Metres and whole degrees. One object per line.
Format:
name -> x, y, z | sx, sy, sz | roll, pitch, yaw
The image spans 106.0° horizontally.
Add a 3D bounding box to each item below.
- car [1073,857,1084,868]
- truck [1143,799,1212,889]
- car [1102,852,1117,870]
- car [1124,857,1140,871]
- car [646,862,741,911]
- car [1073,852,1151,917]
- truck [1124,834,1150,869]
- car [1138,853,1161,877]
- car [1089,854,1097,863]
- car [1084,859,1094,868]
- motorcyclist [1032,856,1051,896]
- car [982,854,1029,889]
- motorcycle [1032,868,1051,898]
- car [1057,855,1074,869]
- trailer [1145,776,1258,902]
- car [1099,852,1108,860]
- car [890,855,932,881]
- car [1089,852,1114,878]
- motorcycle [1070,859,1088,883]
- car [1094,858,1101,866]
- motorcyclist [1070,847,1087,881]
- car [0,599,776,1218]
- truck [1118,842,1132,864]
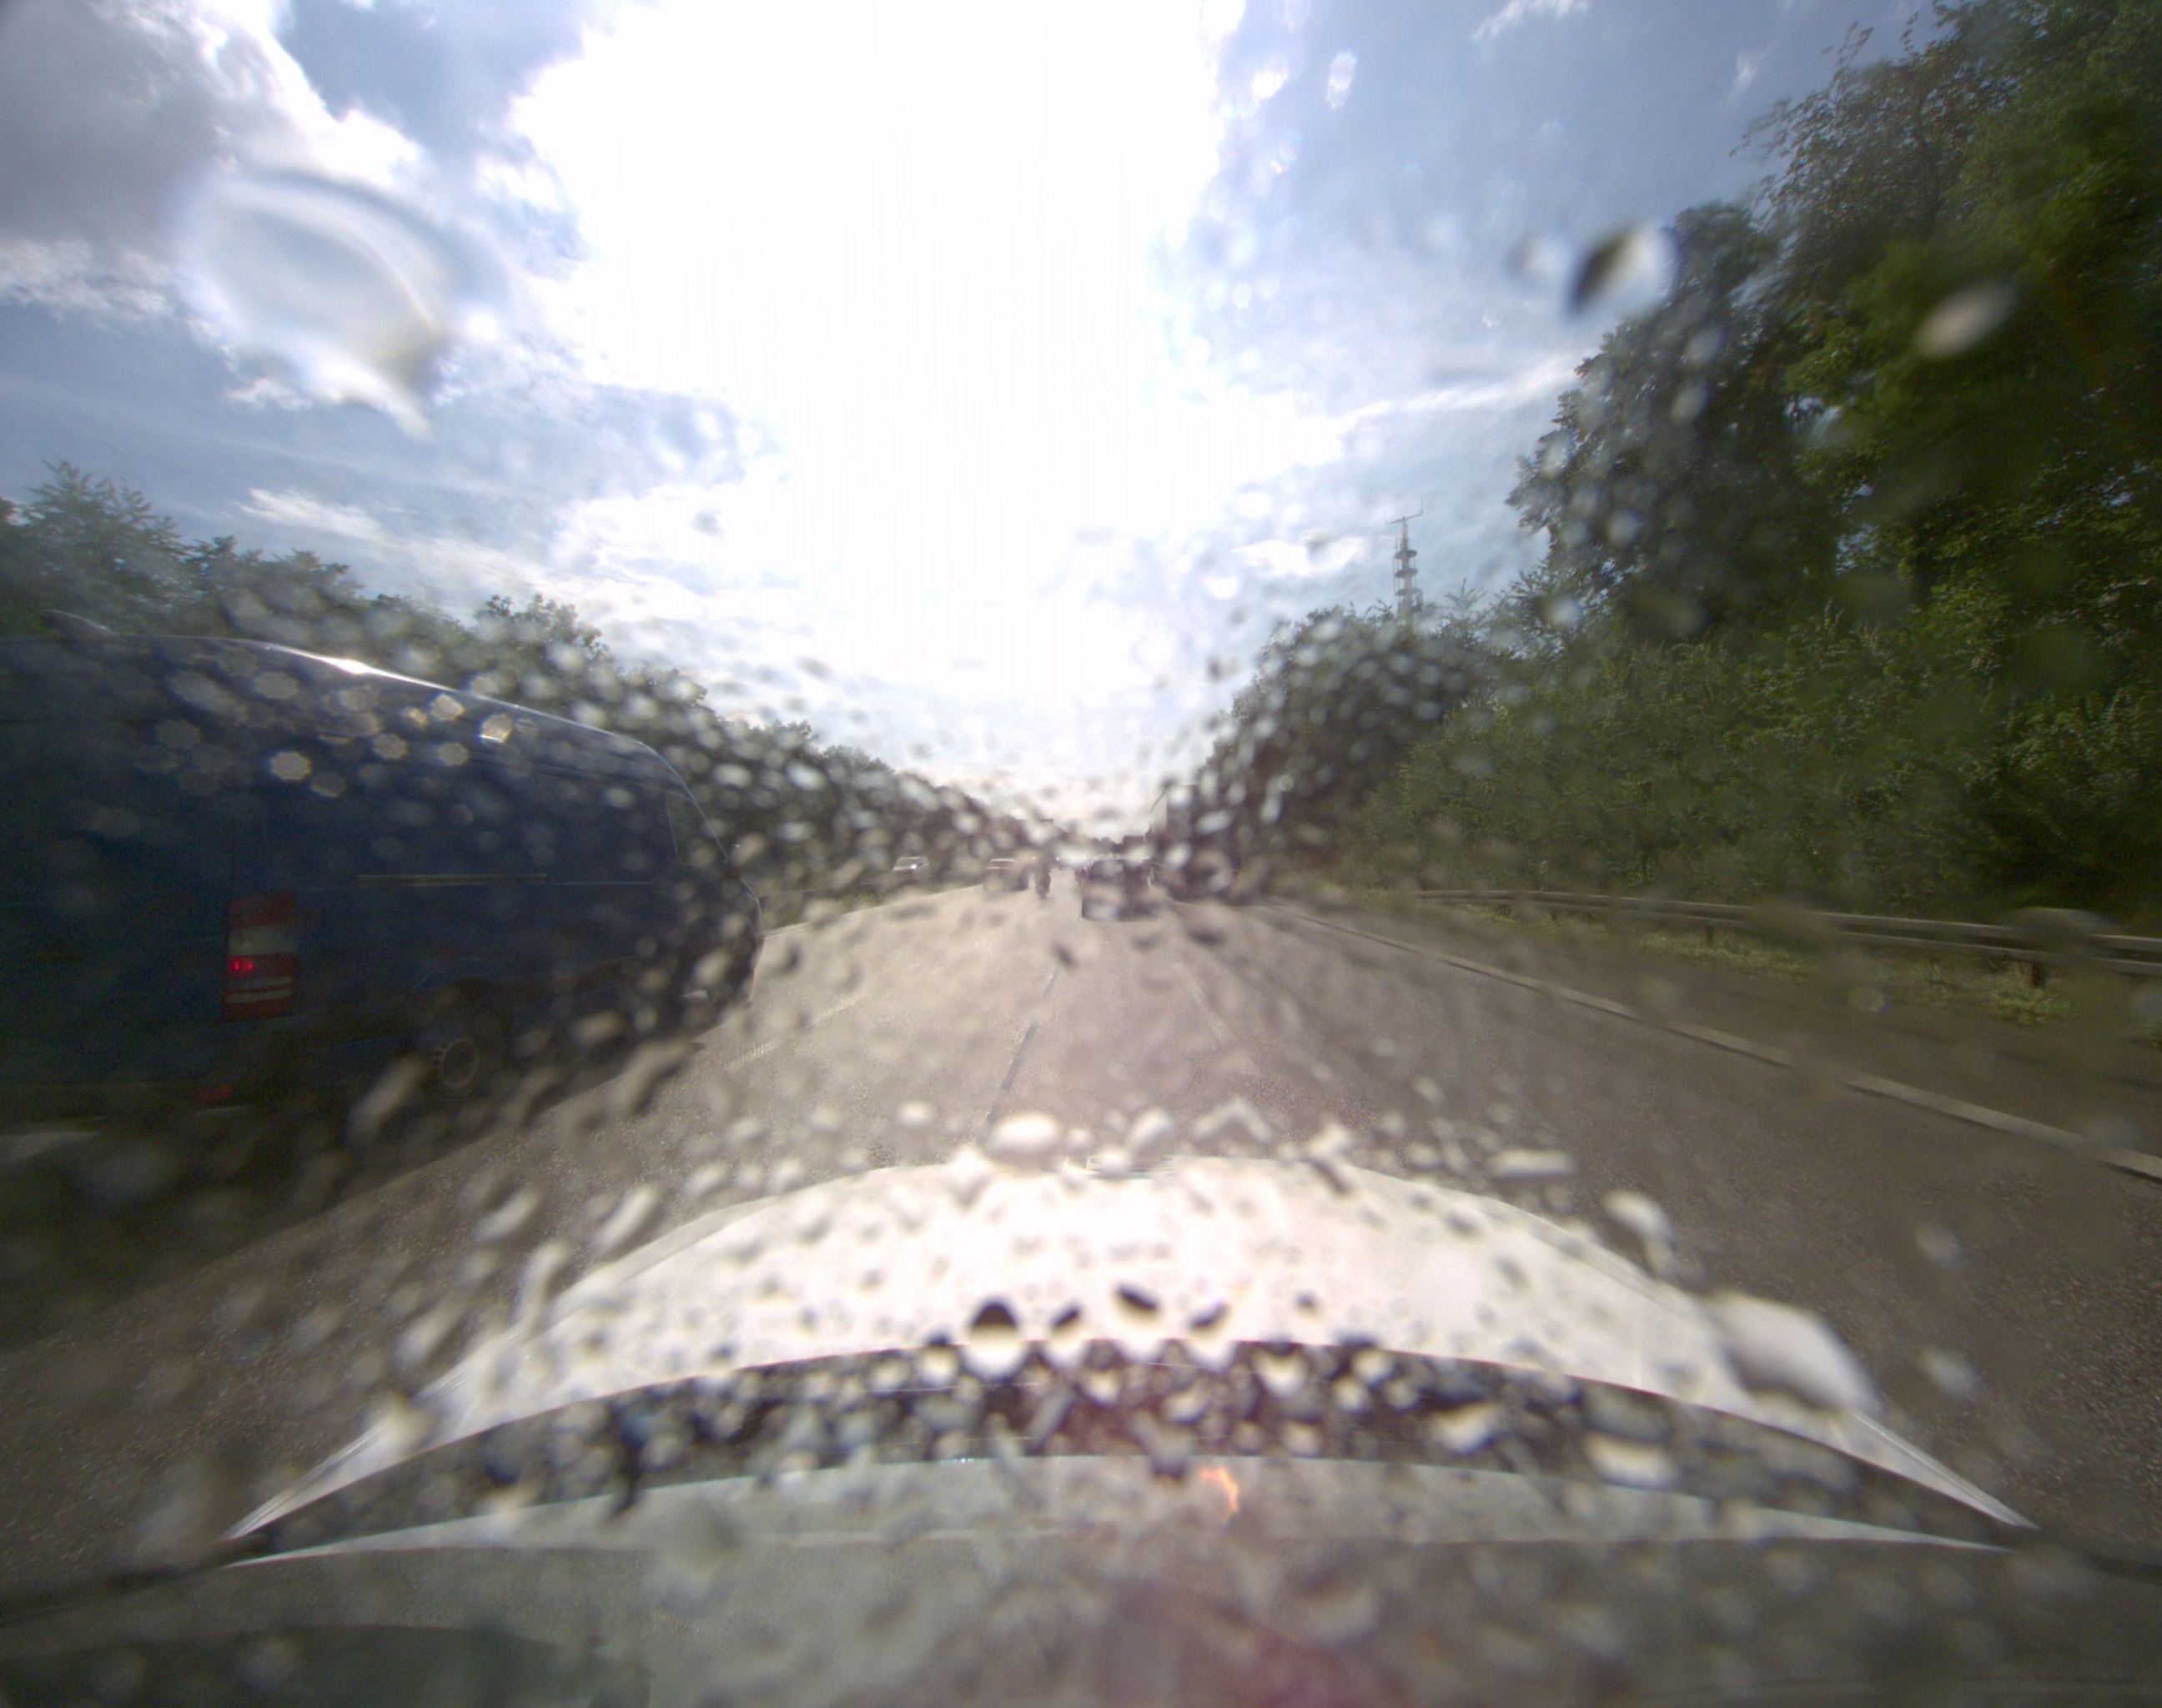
car -> -0.343, 1.327, 130.196 | 1.669, 1.597, 3.437 | -1, 0, 1
truck -> 4.904, -0.456, 42.457 | 3.041, 4.325, 5.888 | -1, 0, 2
car -> 3.201, 0.747, 91.260 | 1.669, 1.936, 3.774 | -1, 0, 1
car -> 5.662, 1.055, 90.615 | 1.669, 1.490, 3.437 | -1, 0, 1
car -> -16.763, 1.357, 35.462 | 1.917, 1.911, 4.290 | -2, 0, 2
car -> 0.822, 0.757, 22.259 | 1.908, 1.565, 4.315 | -1, 0, 1
truck -> 7.375, -0.334, 108.694 | 3.190, 4.404, 9.436 | -1, 0, 2
car -> 6.013, 0.986, 71.672 | 1.842, 2.014, 4.089 | -1, -1, 2
car -> 2.977, 1.144, 200.373 | 1.986, 2.014, 4.001 | -1, -1, 1
car -> 1.804, 2.028, 181.418 | 1.986, 2.014, 4.001 | -1, -1, 1
motorcyclist -> -1.469, 0.818, 30.693 | 0.669, 1.442, 1.019 | -1, -1, -2
car -> -3.611, 0.807, 39.568 | 1.752, 1.595, 4.331 | -1, 0, 1
motorcycle -> -1.461, 1.070, 30.601 | 0.674, 1.087, 1.980 | 0, 0, -1
car -> -1.833, 0.938, 98.506 | 1.886, 1.628, 4.196 | -1, 0, 1
trailer -> 4.719, -0.484, 35.181 | 3.077, 4.312, 14.108 | -1, 0, 1
car -> 4.101, 0.404, 147.823 | 1.626, 1.490, 3.437 | -1, 0, 1
car -> -12.742, 0.993, 61.223 | 1.986, 1.834, 4.621 | 1, 0, 2
car -> 1.687, 0.881, 66.705 | 1.986, 2.014, 4.000 | -1, -1, 1
motorcycle -> -0.108, 0.882, 43.190 | 0.816, 1.263, 2.119 | -1, 0, 3
car -> 4.491, 2.197, 220.446 | 1.986, 2.014, 4.001 | -1, -1, 1
motorcyclist -> -0.111, 0.506, 43.146 | 0.818, 1.761, 1.391 | -1, -1, 2
car -> -4.565, 0.250, 6.392 | 2.008, 2.648, 5.778 | -1, 0, 1
truck -> 9.852, -0.110, 184.055 | 2.871, 4.687, 12.662 | -1, -1, 2
